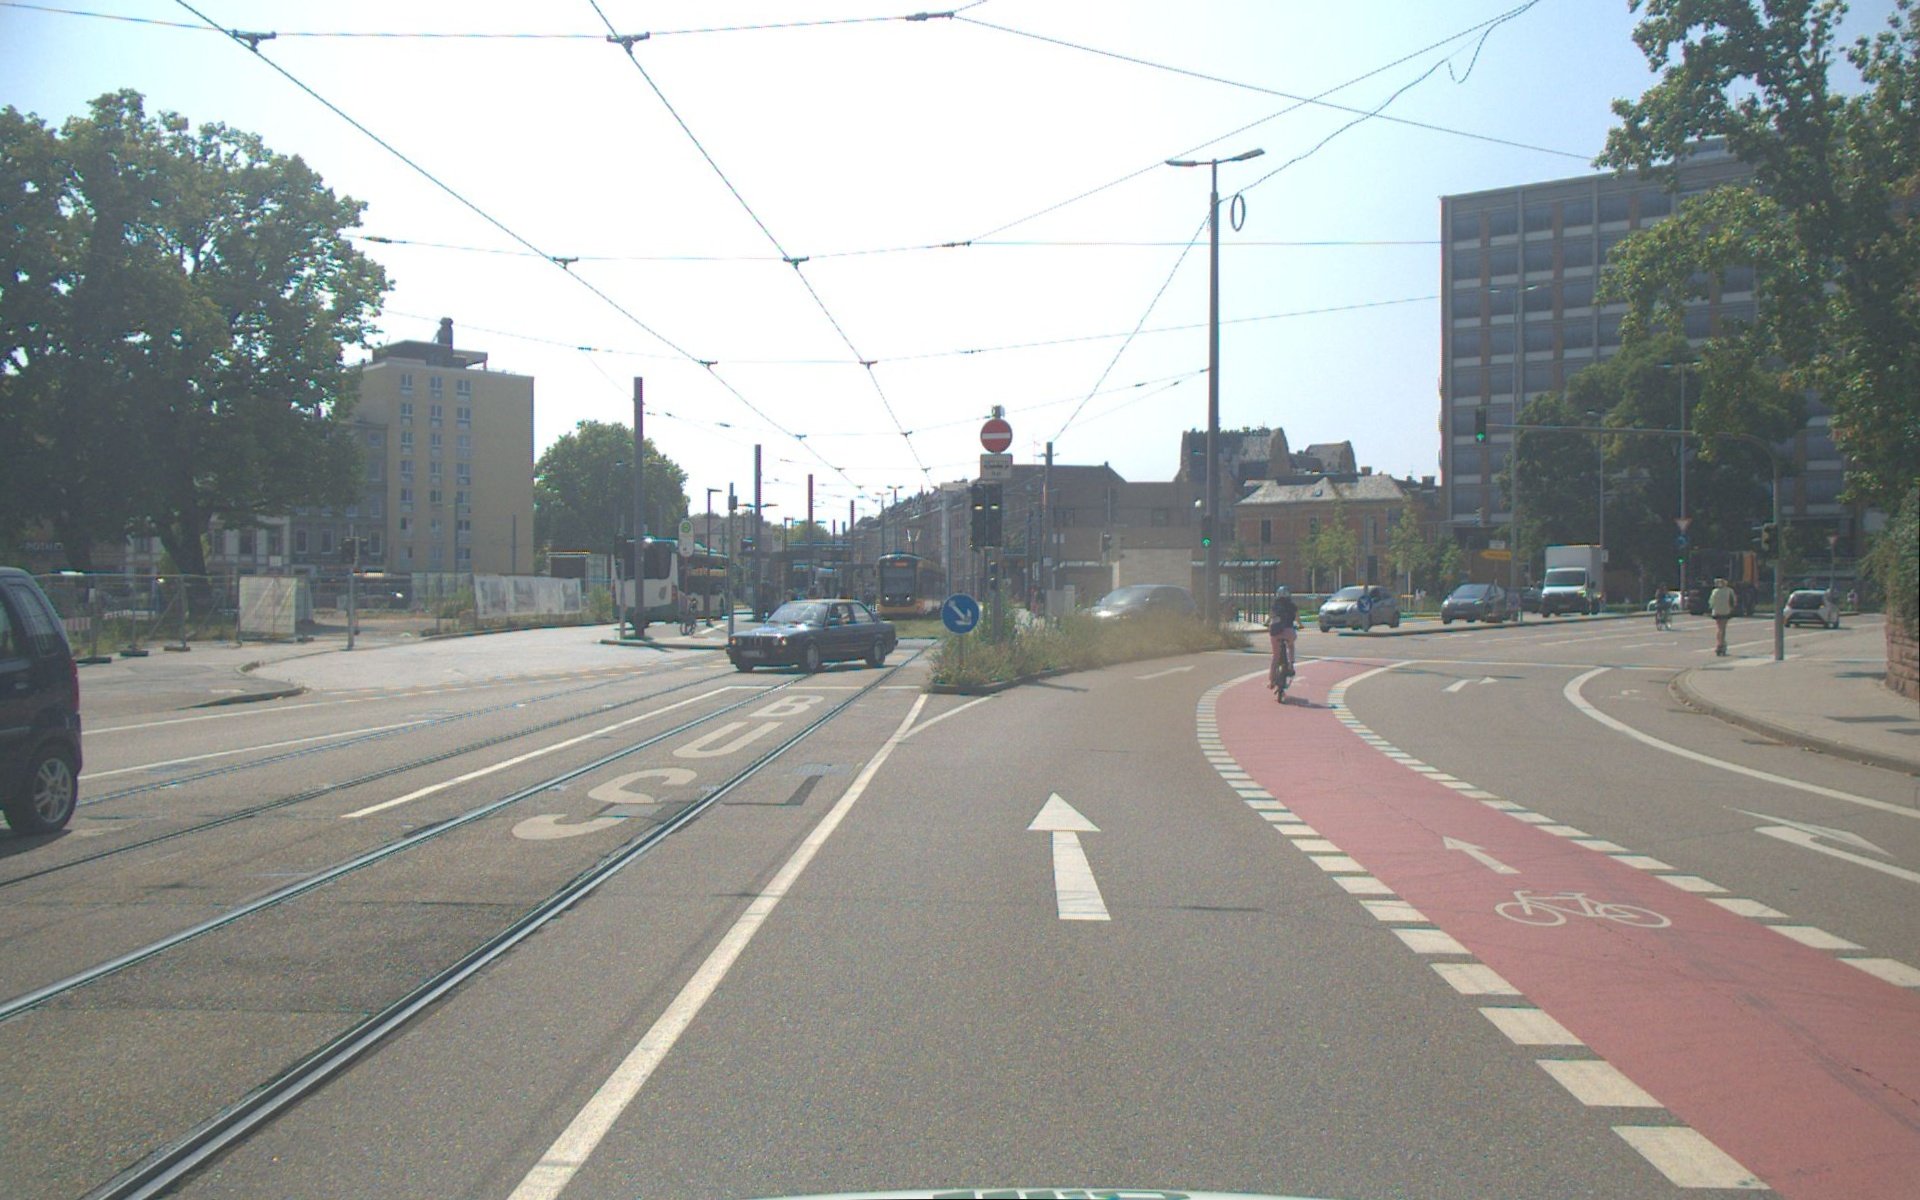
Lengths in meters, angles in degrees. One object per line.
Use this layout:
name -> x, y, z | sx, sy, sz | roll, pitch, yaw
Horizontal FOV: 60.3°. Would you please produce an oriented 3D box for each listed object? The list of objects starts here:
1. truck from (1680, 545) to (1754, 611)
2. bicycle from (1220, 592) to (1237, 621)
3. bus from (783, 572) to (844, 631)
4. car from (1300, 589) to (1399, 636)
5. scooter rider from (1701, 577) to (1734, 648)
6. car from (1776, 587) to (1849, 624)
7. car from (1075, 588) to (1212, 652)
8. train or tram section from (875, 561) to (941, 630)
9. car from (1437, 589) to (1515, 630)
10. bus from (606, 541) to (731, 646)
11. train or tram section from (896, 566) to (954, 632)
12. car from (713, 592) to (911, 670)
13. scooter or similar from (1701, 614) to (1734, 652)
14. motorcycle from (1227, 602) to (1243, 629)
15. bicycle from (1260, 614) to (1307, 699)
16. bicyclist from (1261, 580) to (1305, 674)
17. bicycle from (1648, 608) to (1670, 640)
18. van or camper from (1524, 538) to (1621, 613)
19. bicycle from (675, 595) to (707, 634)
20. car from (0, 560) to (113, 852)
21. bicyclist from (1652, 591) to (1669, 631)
truck -> 36.930, -1.023, 80.596 | 2.647, 3.042, 5.953 | 0, -1, 31
bicycle -> 11.399, 0.256, 70.234 | 0.591, 1.232, 1.812 | 0, 0, 13
bus -> -9.824, 0.155, 111.877 | 2.653, 3.792, 10.422 | 0, 0, 3
car -> 13.380, 0.415, 56.612 | 1.624, 1.557, 4.305 | -1, -1, 38
scooter rider -> 19.331, 0.318, 42.221 | 0.747, 1.806, 0.554 | -1, -1, 26
car -> 33.790, 0.208, 65.502 | 1.813, 1.416, 3.980 | -1, -1, 39
car -> 5.074, 0.519, 45.129 | 1.741, 1.639, 4.658 | -1, 0, 34
train or tram section -> -2.842, -0.165, 95.551 | 2.797, 3.610, 17.745 | 0, 0, 1
car -> 20.392, 0.385, 65.229 | 1.668, 1.557, 4.166 | -1, -1, 36
bus -> -11.468, -0.197, 66.258 | 2.897, 3.841, 10.597 | 0, 0, 1
train or tram section -> -2.224, -0.007, 114.012 | 2.826, 4.139, 19.146 | 0, 0, 2
car -> -2.805, 0.569, 32.356 | 1.655, 1.402, 4.612 | -1, 0, 27
scooter or similar -> 19.296, 0.828, 42.119 | 0.757, 0.943, 1.619 | 0, 0, 26
motorcycle -> 12.590, 0.690, 75.737 | 0.591, 1.232, 2.255 | 0, 0, 13
bicycle -> 4.788, 0.811, 24.402 | 0.591, 1.183, 1.812 | 0, 0, 14
bicyclist -> 4.743, 0.391, 24.291 | 0.590, 1.358, 0.660 | 0, -1, 15
bicycle -> 25.464, 0.860, 60.212 | 0.436, 1.136, 1.441 | -1, -1, 35
van or camper -> 28.886, -1.098, 77.856 | 2.360, 3.364, 7.161 | -1, -1, 36
bicycle -> -8.569, 0.462, 52.775 | 0.594, 1.244, 1.706 | 0, 0, 6
car -> -6.372, 0.602, 8.911 | 1.656, 1.684, 3.582 | 0, 0, 2
bicyclist -> 25.547, 0.403, 60.338 | 0.442, 1.446, 0.494 | -1, -1, 35
